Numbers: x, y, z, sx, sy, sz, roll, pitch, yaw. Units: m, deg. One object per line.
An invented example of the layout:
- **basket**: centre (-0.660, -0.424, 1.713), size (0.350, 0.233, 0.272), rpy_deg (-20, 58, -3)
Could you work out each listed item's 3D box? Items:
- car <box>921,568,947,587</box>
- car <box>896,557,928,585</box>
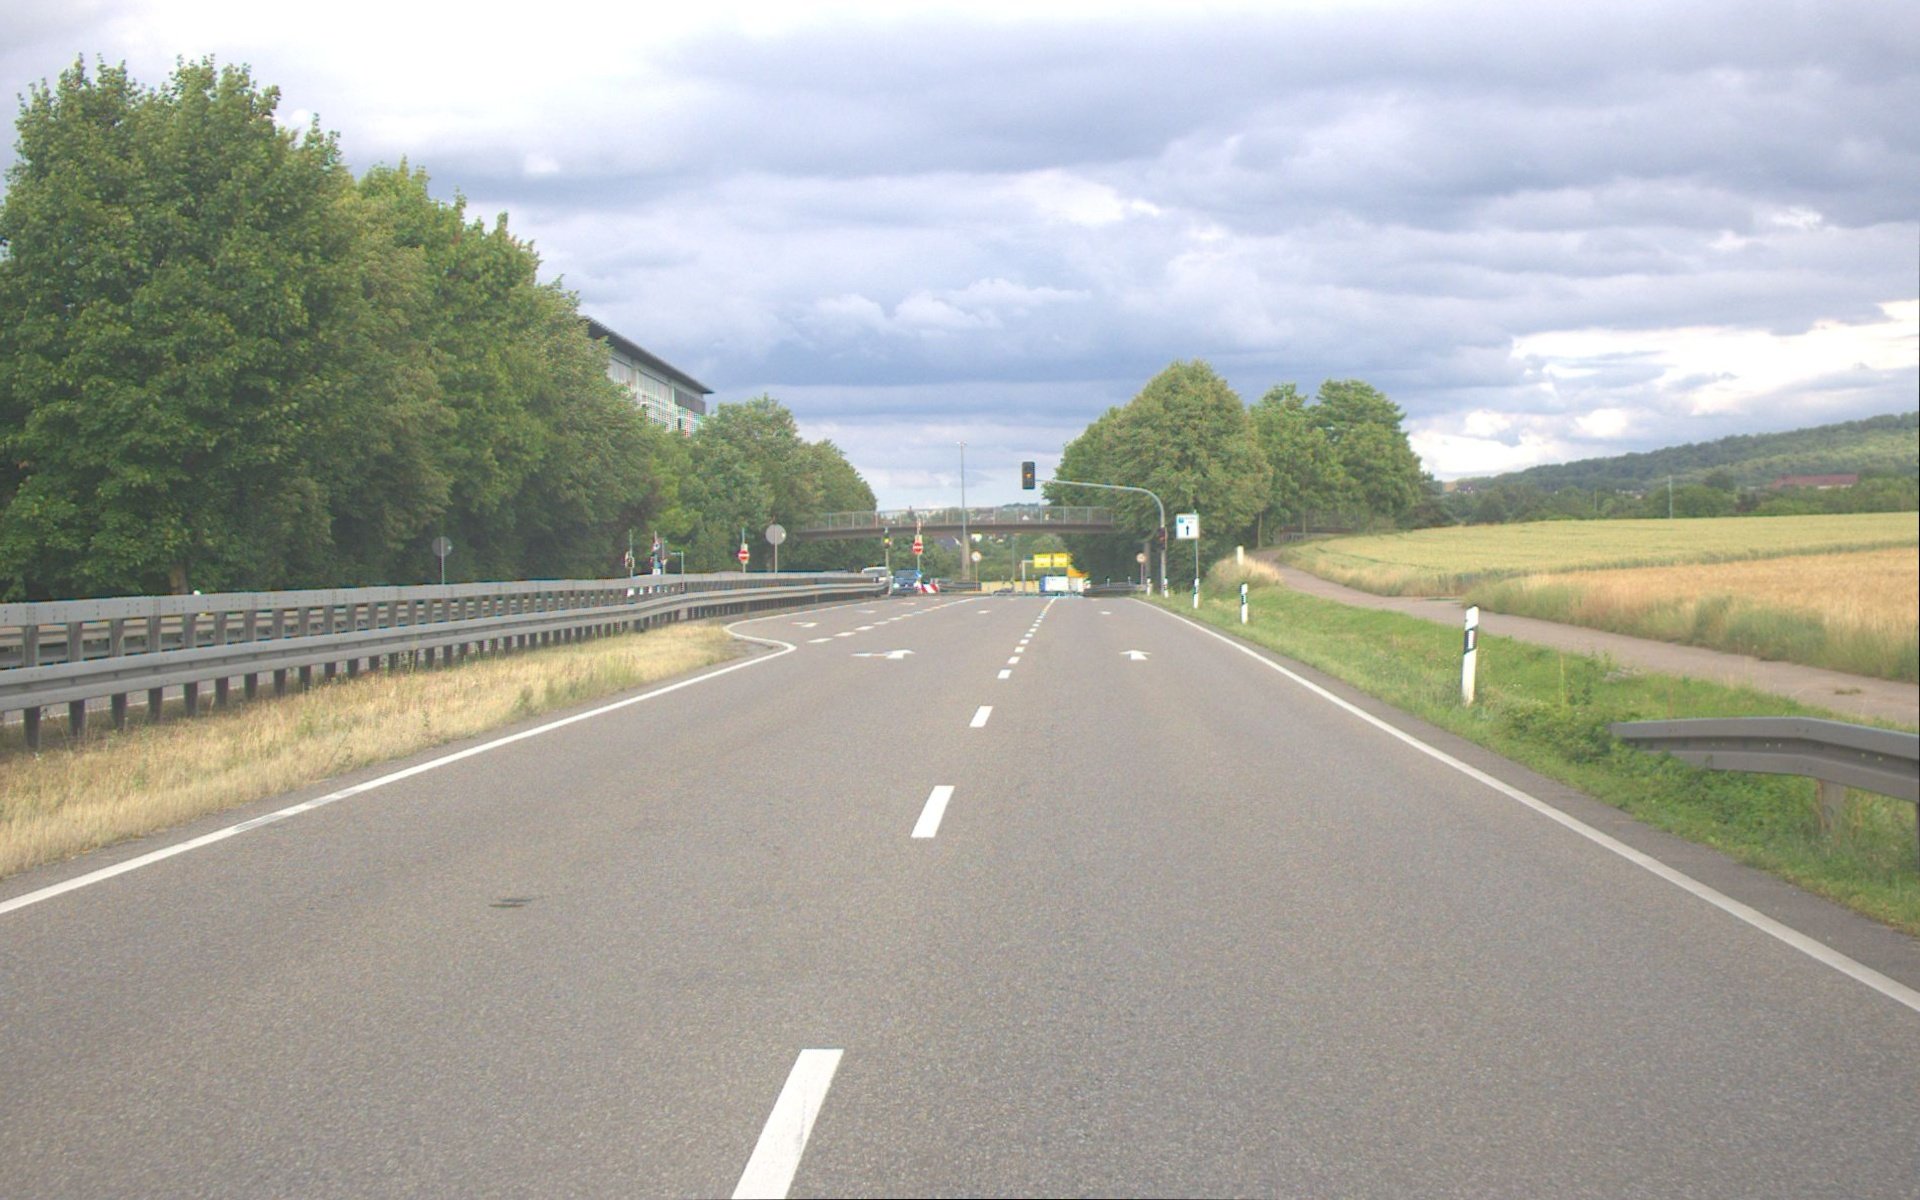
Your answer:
- **car**: centre (-1.511, -1.306, 201.426), size (1.358, 1.088, 2.921), rpy_deg (-1, 1, 3)
- **car**: centre (-3.304, -2.037, 236.725), size (1.994, 1.867, 4.736), rpy_deg (-1, 1, 2)
